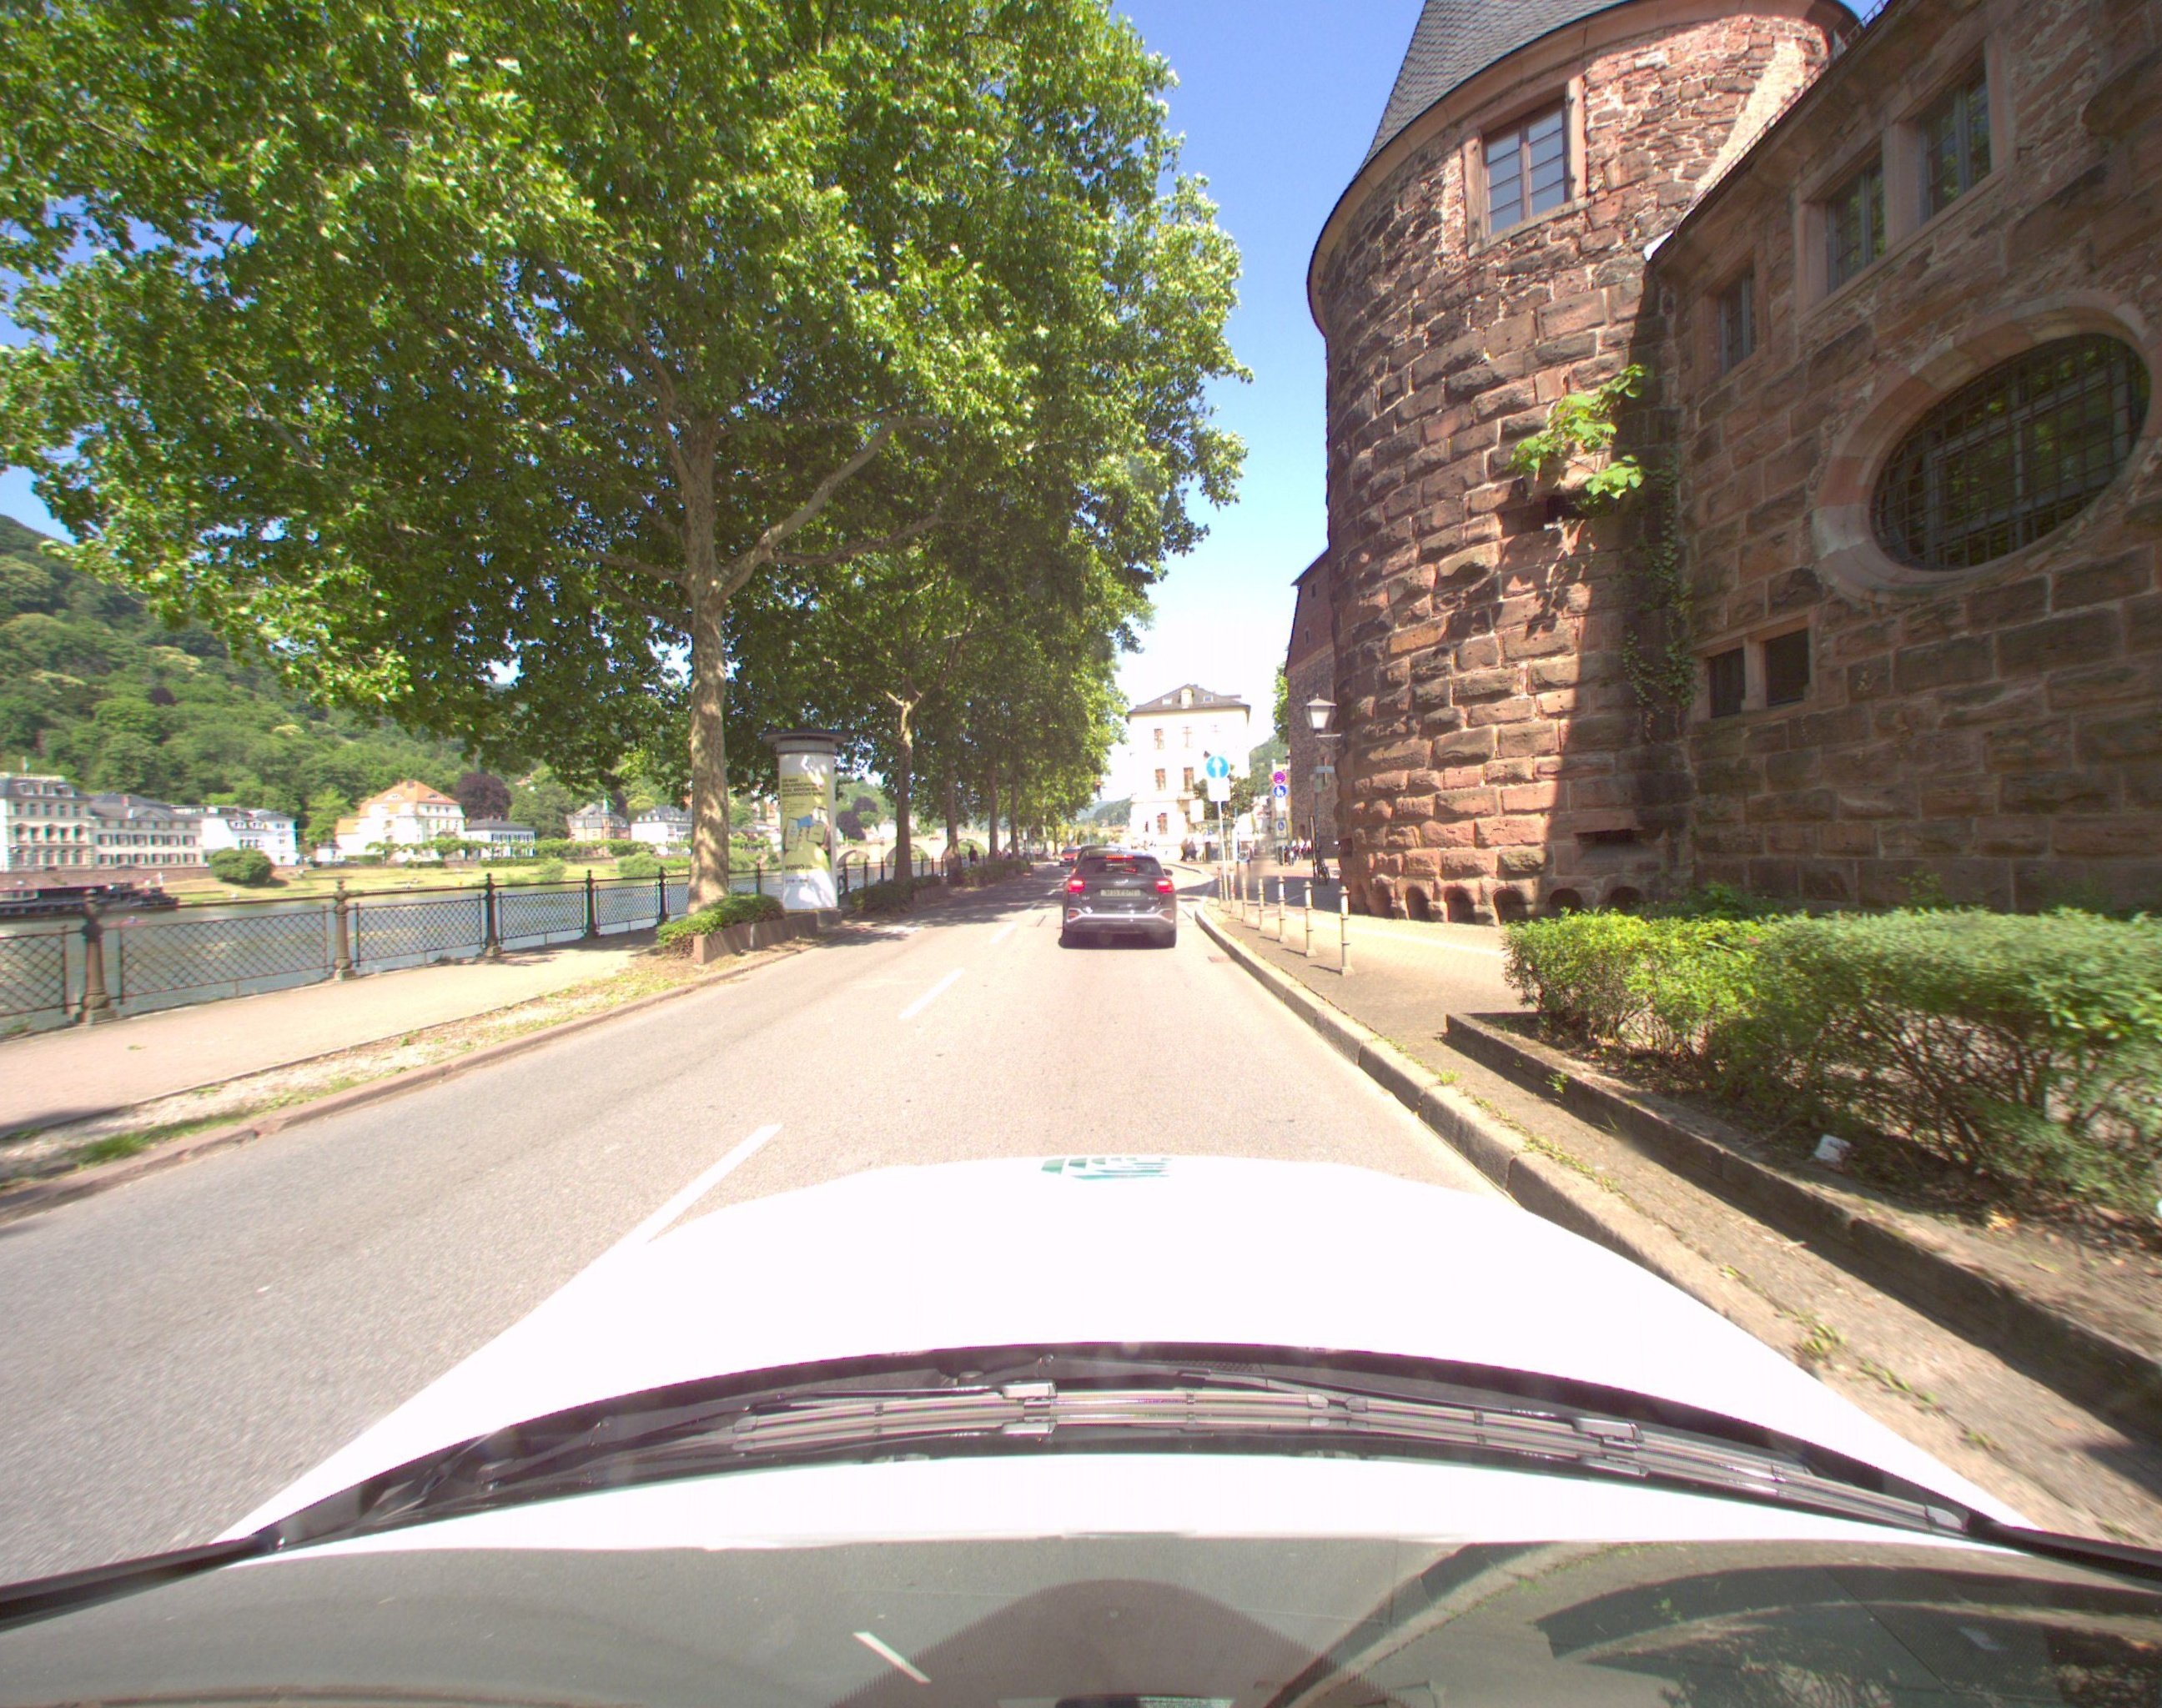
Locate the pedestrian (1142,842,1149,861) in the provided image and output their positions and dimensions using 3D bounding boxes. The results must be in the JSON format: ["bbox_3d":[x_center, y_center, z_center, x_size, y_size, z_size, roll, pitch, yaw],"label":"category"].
[{"bbox_3d":[5.067,-0.199,64.272,0.555,1.557,0.660,-1,0,3],"label":"pedestrian"}]

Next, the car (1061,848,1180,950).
[{"bbox_3d":[0.613,0.646,13.836,1.742,1.494,3.629,0,0,1],"label":"car"}]

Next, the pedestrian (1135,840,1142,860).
[{"bbox_3d":[4.587,-0.292,64.893,0.555,1.557,0.660,-1,0,3],"label":"pedestrian"}]

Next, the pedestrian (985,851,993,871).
[{"bbox_3d":[-7.478,0.565,66.275,0.496,1.537,0.678,-3,0,-5],"label":"pedestrian"}]

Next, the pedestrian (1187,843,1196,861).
[{"bbox_3d":[7.567,-0.153,55.865,0.544,1.201,0.523,0,0,3],"label":"pedestrian"}]

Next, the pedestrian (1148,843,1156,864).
[{"bbox_3d":[5.238,-0.032,59.757,0.555,1.557,0.660,-1,0,3],"label":"pedestrian"}]

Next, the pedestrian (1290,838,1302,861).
[{"bbox_3d":[13.987,-0.276,53.009,0.655,1.493,0.548,0,0,3],"label":"pedestrian"}]

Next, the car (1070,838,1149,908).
[{"bbox_3d":[0.754,0.438,21.106,1.794,1.562,3.718,-3,0,2],"label":"car"}]

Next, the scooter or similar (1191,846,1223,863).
[{"bbox_3d":[7.318,0.031,47.393,1.838,0.963,0.429,0,0,1],"label":"scooter or similar"}]

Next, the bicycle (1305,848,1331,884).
[{"bbox_3d":[7.161,0.341,24.674,0.493,1.030,2.056,-2,0,10],"label":"bicycle"}]

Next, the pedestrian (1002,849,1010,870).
[{"bbox_3d":[-5.975,0.439,65.111,0.516,1.637,0.438,-3,0,-5],"label":"pedestrian"}]

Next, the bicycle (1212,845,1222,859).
[{"bbox_3d":[9.194,-0.125,55.058,0.449,0.974,1.400,0,0,2],"label":"bicycle"}]

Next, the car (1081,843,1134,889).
[{"bbox_3d":[1.015,0.386,30.310,1.794,1.523,3.718,-3,0,2],"label":"car"}]

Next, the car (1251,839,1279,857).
[{"bbox_3d":[18.043,-0.579,79.988,1.986,1.716,4.002,0,0,2],"label":"car"}]

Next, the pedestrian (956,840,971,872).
[{"bbox_3d":[-6.563,0.124,45.366,0.643,1.717,0.665,-3,0,-1],"label":"pedestrian"}]

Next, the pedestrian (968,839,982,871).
[{"bbox_3d":[-5.899,0.047,45.406,0.562,1.741,0.665,-5,0,-1],"label":"pedestrian"}]

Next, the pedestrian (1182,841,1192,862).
[{"bbox_3d":[8.042,-0.215,61.801,0.744,1.557,0.589,-1,0,3],"label":"pedestrian"}]

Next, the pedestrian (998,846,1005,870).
[{"bbox_3d":[-6.486,0.299,66.402,0.499,1.958,0.438,0,0,-5],"label":"pedestrian"}]

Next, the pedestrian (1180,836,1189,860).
[{"bbox_3d":[6.978,-0.384,55.029,0.555,1.633,0.660,-1,0,3],"label":"pedestrian"}]

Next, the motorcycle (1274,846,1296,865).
[{"bbox_3d":[9.442,0.055,37.801,0.481,0.818,2.281,-3,0,2],"label":"motorcycle"}]

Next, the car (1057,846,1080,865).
[{"bbox_3d":[-1.074,0.137,70.484,1.608,1.523,3.480,-3,0,4],"label":"car"}]

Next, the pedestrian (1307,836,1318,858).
[{"bbox_3d":[15.979,-0.452,56.212,0.655,1.517,0.627,0,0,3],"label":"pedestrian"}]

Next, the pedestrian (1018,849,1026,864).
[{"bbox_3d":[-5.246,0.236,72.519,0.588,1.278,0.525,-3,0,2],"label":"pedestrian"}]

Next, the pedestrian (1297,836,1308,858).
[{"bbox_3d":[15.289,-0.453,56.269,0.655,1.517,0.548,0,0,3],"label":"pedestrian"}]

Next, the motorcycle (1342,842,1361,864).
[{"bbox_3d":[12.292,-0.061,37.019,0.434,0.973,1.360,0,0,2],"label":"motorcycle"}]

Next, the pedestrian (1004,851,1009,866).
[{"bbox_3d":[-7.058,0.434,77.182,0.408,1.425,0.457,0,0,-2],"label":"pedestrian"}]

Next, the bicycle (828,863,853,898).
[{"bbox_3d":[-8.499,0.925,28.822,0.356,1.162,1.825,0,0,-1],"label":"bicycle"}]
